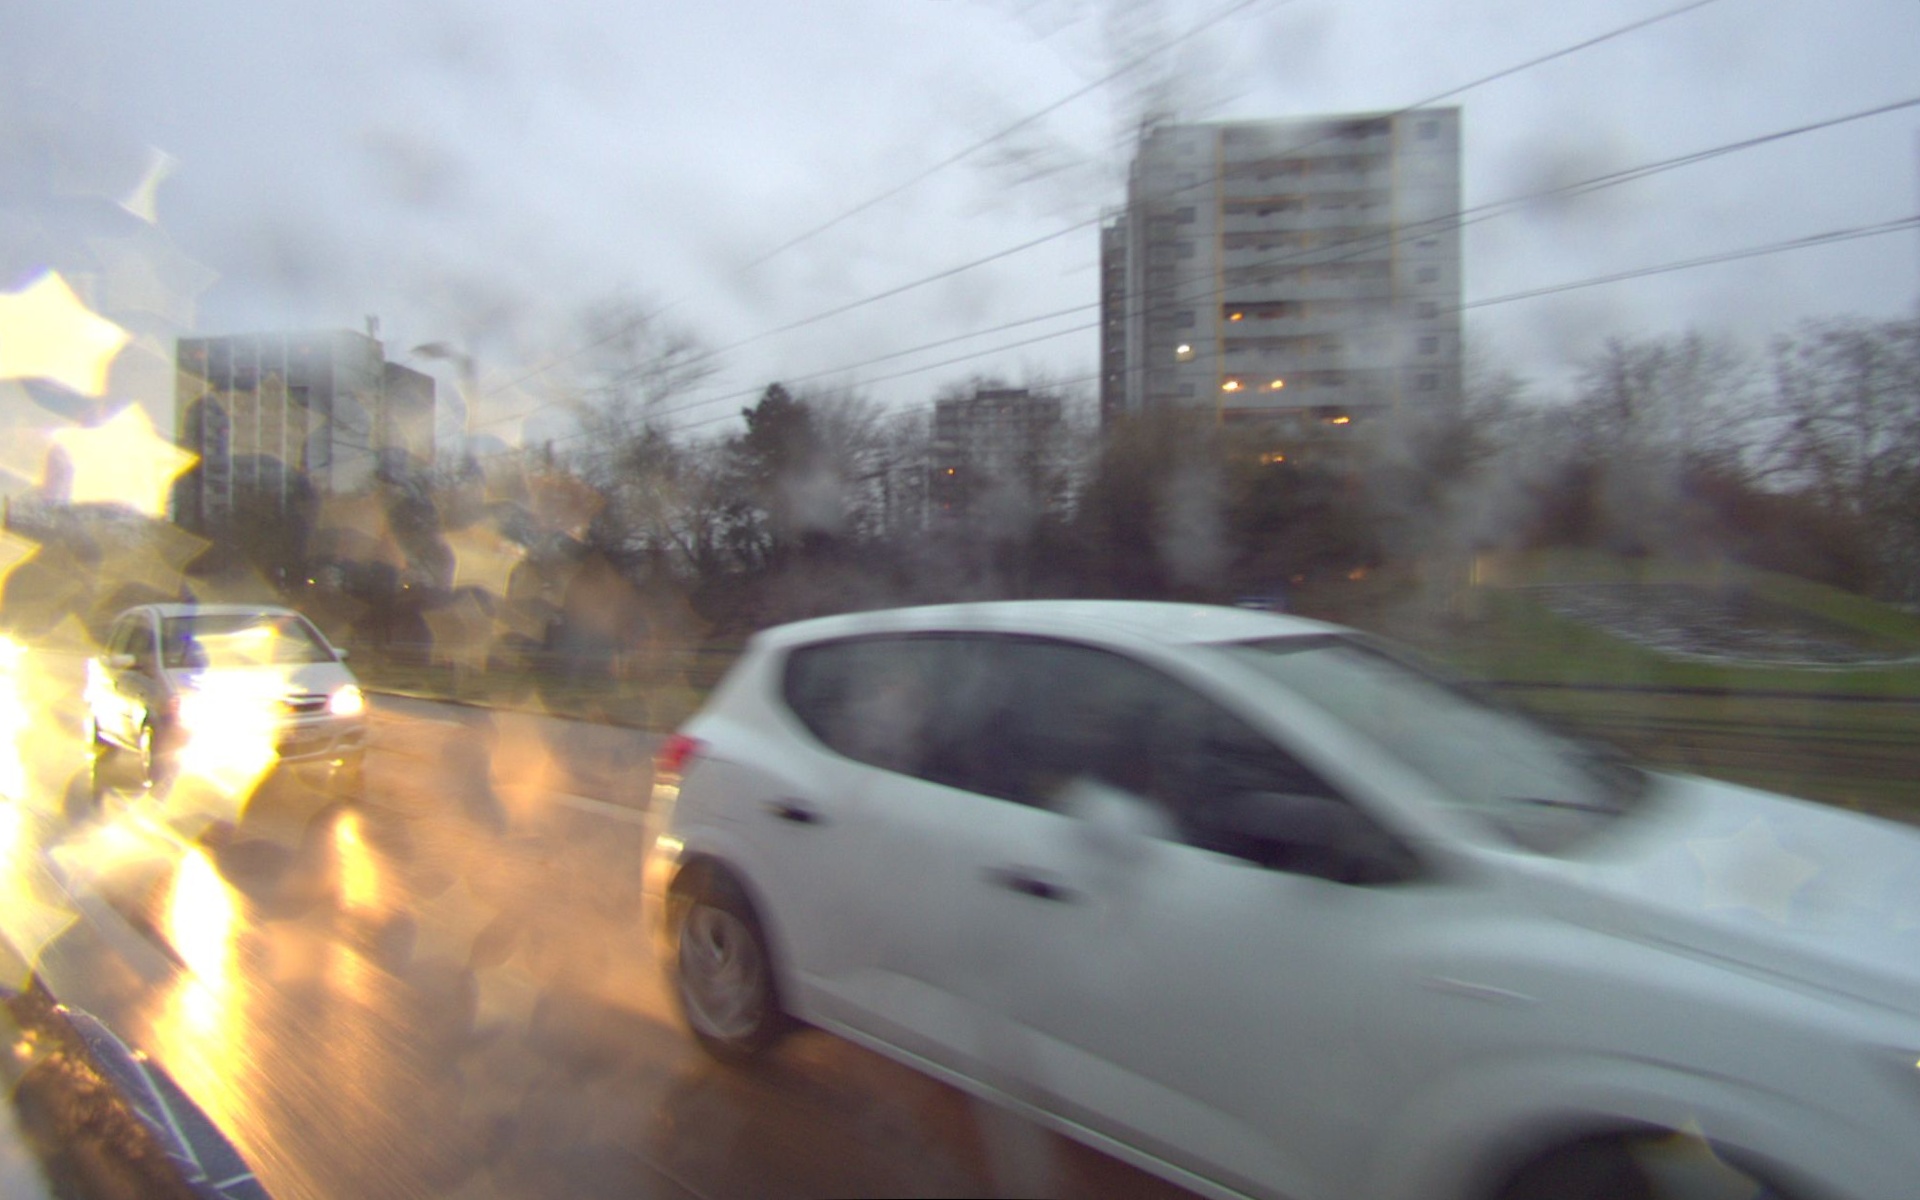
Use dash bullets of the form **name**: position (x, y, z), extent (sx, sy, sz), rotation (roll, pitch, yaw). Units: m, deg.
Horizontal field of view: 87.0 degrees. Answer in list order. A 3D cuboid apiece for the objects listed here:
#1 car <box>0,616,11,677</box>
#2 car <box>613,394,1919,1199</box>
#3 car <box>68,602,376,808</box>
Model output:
- **car**: position (-27.745, 1.266, 27.805), extent (4.121, 1.612, 1.928), rotation (-1, -2, 40)
- **car**: position (0.911, 0.588, 2.784), extent (4.145, 1.660, 1.696), rotation (-1, -2, 41)
- **car**: position (-7.237, 0.832, 9.754), extent (4.191, 1.551, 1.671), rotation (-1, -1, 44)
